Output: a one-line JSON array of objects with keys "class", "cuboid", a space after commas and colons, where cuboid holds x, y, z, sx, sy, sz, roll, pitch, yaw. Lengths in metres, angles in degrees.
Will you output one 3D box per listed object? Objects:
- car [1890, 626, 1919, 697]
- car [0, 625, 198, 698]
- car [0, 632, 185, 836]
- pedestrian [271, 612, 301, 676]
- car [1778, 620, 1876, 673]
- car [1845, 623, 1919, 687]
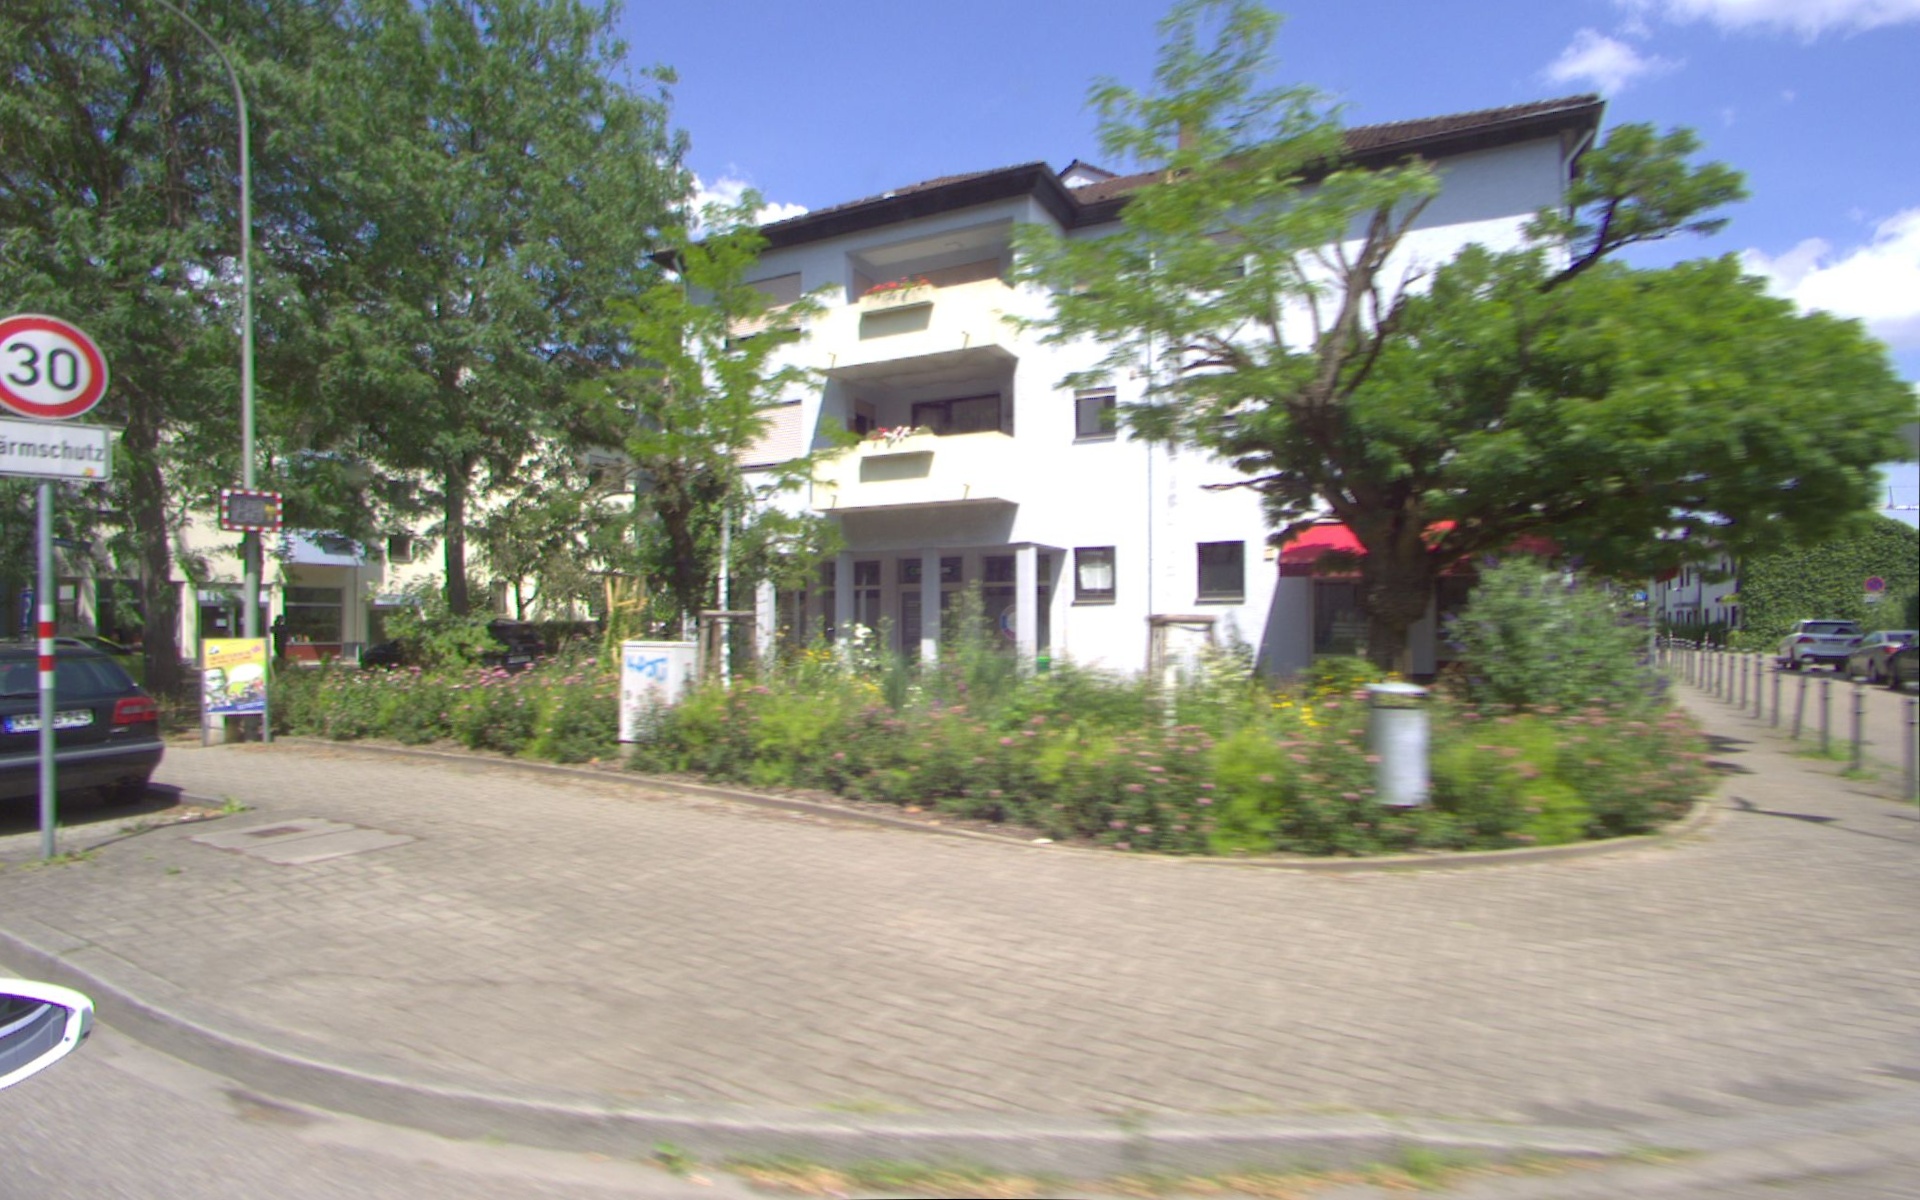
[{"class": "car", "cuboid": [21.820, 1.366, 21.722, 1.717, 1.549, 3.593, 1, -1, 32]}, {"class": "car", "cuboid": [-19.188, 1.292, 21.456, 1.961, 1.398, 4.395, 1, -3, 8]}, {"class": "car", "cuboid": [-8.551, 1.041, 8.629, 3.943, 1.439, 1.688, -1, 1, 32]}, {"class": "pedestrian", "cuboid": [-20.026, 1.296, 29.752, 0.586, 1.883, 0.603, 0, -1, -16]}, {"class": "car", "cuboid": [29.847, 1.568, 34.581, 1.972, 1.683, 3.979, -1, -2, 33]}, {"class": "car", "cuboid": [24.681, 1.439, 26.168, 1.717, 1.549, 3.593, 1, -1, 32]}]
